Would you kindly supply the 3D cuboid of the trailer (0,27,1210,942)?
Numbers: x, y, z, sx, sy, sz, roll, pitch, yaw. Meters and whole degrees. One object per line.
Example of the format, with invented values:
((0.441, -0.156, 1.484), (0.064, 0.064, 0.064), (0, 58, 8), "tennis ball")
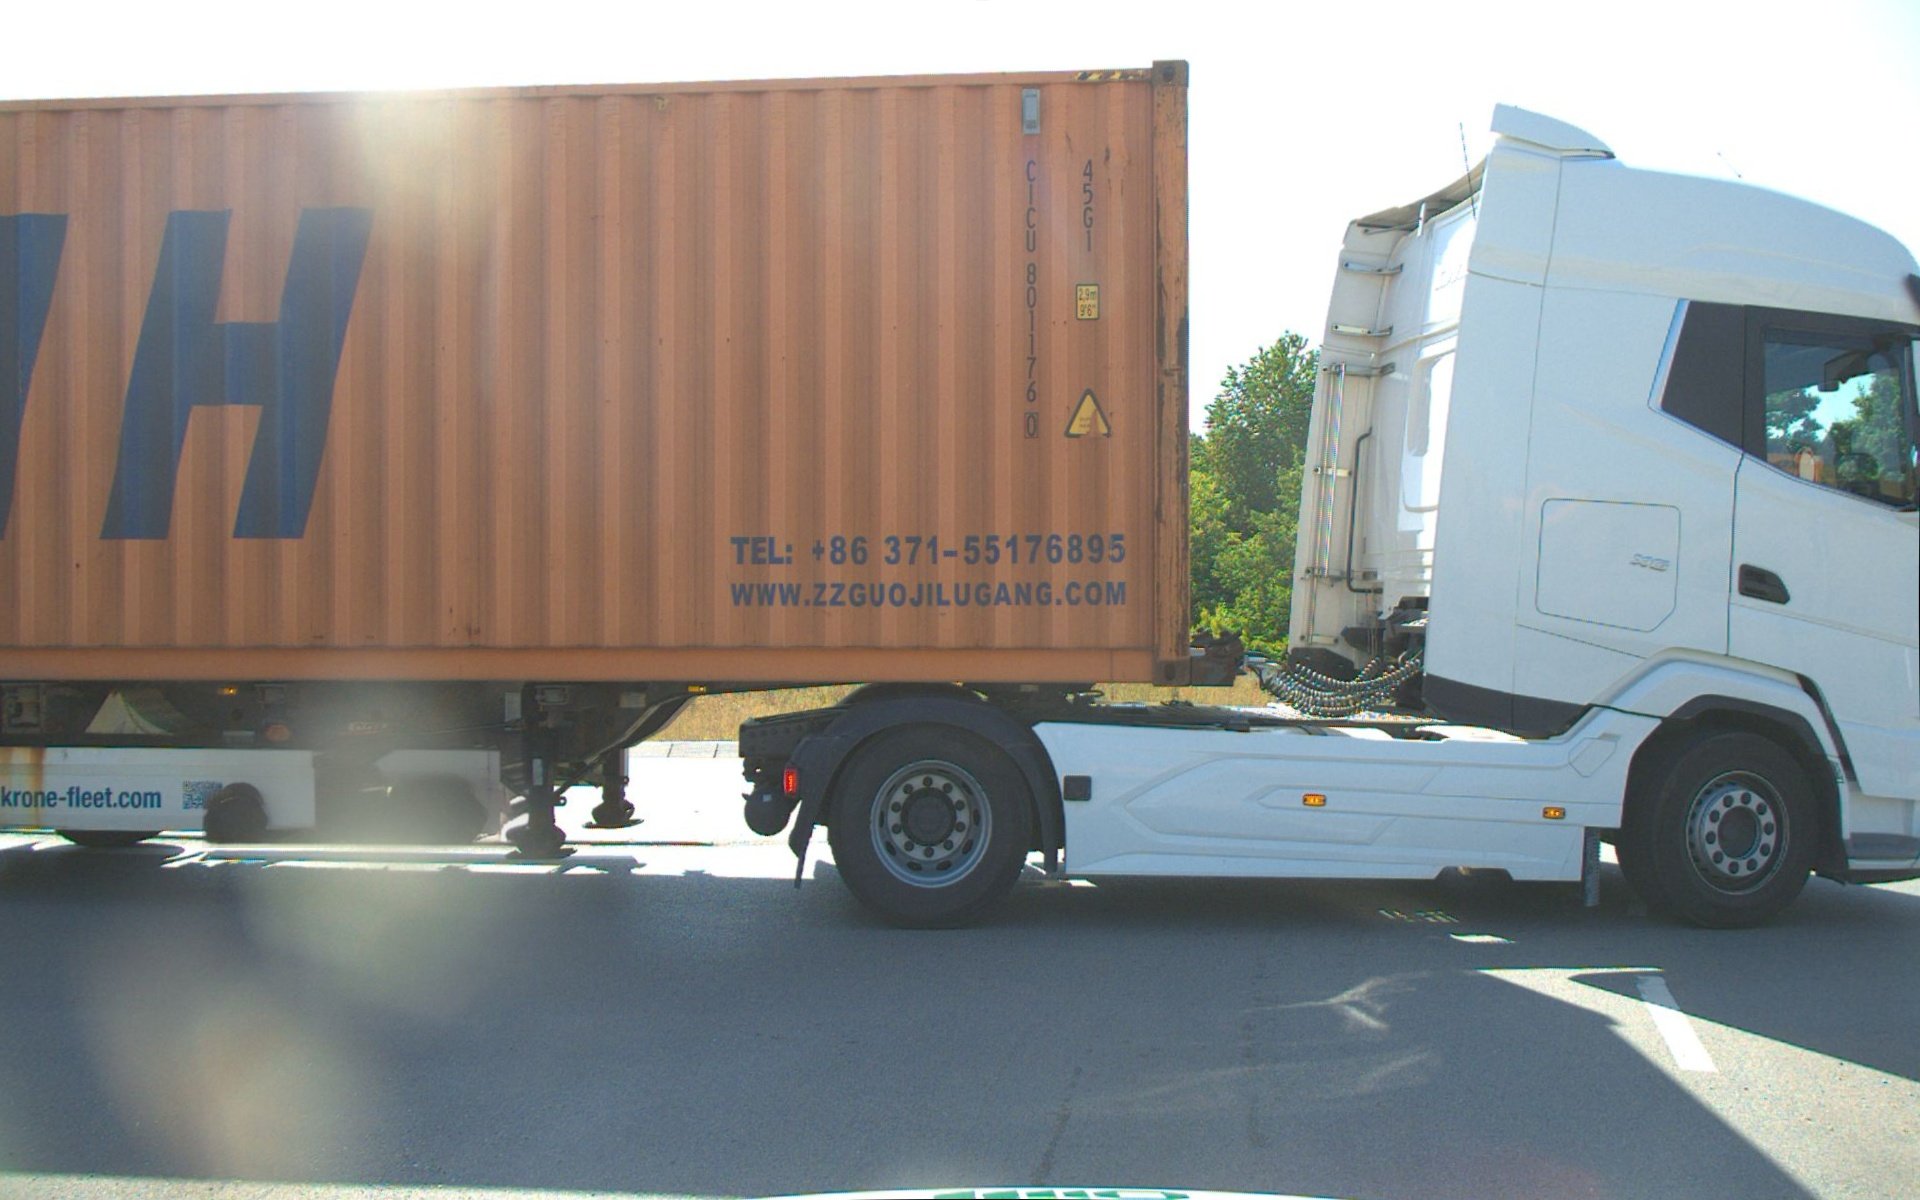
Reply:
((-4.737, -0.562, 9.447), (12.059, 4.227, 2.562), (0, -1, 5), "trailer")

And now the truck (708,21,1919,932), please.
((1.933, -0.512, 9.125), (6.286, 4.179, 2.661), (1, -1, -4), "truck")

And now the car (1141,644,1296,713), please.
((6.703, 2.021, 43.313), (1.820, 1.624, 4.284), (2, -1, -28), "car")
